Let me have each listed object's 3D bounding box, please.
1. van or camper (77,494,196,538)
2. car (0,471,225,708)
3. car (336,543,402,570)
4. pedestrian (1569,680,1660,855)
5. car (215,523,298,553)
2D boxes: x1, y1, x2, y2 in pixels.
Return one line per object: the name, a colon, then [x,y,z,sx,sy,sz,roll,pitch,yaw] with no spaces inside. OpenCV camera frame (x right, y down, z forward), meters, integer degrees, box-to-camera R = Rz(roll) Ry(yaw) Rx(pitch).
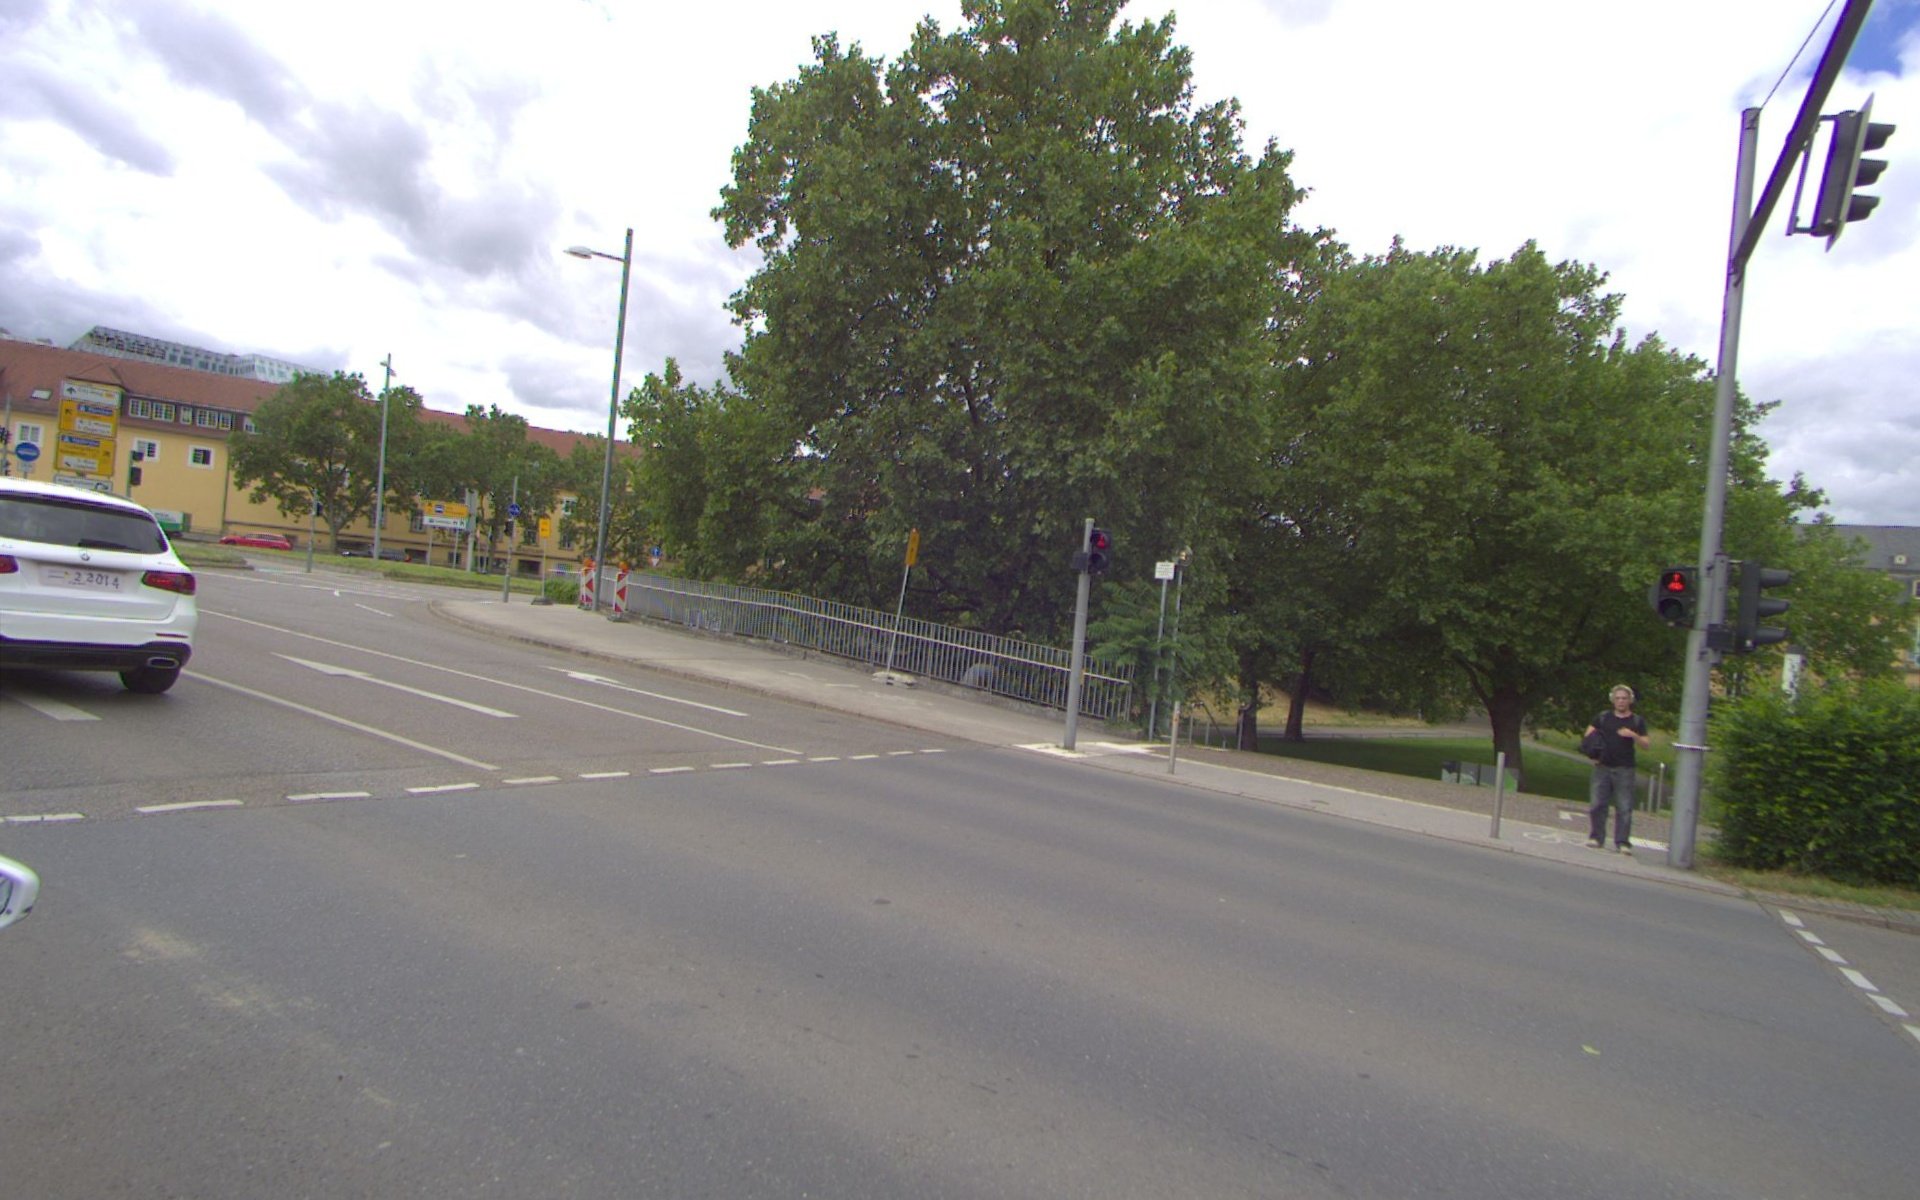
van or camper: [-57.324,-5.778,70.164,5.946,2.038,2.009,8,-1,-23]
car: [-8.355,-0.265,8.542,4.306,1.667,1.822,7,-1,32]
car: [-44.836,-3.296,76.412,4.042,1.430,1.648,8,-1,-27]
pedestrian: [7.159,1.806,11.028,0.609,1.785,0.479,7,0,28]
car: [-51.080,-4.474,73.113,4.638,1.437,1.586,8,-1,-27]
